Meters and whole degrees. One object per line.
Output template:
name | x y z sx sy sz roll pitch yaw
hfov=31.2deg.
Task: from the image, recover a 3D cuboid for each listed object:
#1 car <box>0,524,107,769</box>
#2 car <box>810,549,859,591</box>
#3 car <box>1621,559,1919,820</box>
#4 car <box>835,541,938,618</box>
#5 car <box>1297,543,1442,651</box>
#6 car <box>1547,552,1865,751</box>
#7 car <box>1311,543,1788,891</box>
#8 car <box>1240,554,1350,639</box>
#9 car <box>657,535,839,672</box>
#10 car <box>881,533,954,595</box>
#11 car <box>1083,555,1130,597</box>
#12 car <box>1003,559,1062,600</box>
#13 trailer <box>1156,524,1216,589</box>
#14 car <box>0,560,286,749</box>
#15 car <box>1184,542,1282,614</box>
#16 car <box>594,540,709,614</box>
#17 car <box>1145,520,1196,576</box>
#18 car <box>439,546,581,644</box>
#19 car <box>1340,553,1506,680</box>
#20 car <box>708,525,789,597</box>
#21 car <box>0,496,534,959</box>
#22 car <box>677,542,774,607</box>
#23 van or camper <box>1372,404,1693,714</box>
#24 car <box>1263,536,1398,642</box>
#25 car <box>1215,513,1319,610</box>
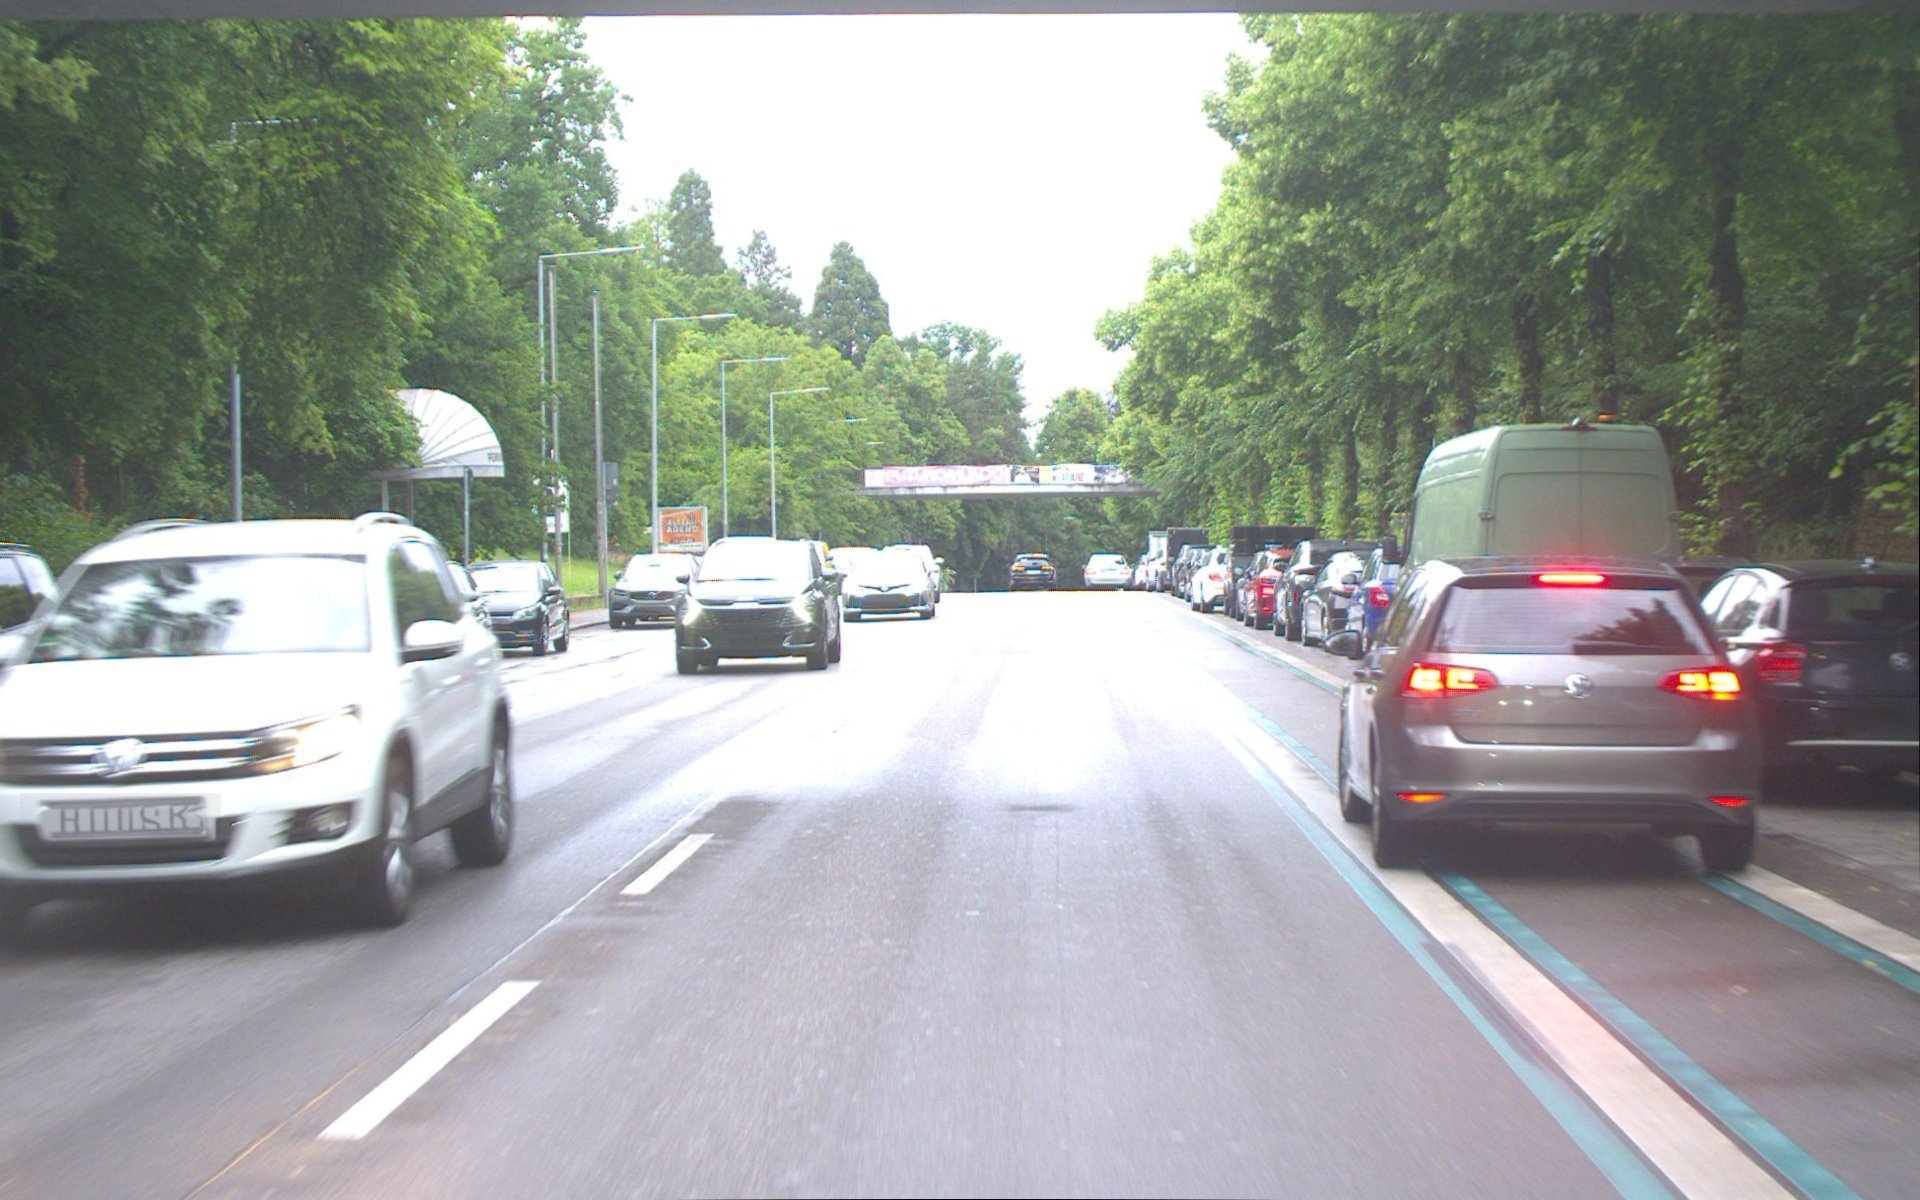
car | -7.862 0.336 25.136 1.990 1.736 4.838 -1 2 1
car | -4.952 -1.193 135.751 1.870 1.537 4.055 -1 2 -1
car | 5.323 0.477 21.340 1.686 1.411 4.197 -1 1 1
car | -1.513 -0.457 72.099 1.921 1.555 4.621 0 1 2
car | 5.888 -0.071 49.809 1.686 1.451 4.146 1 1 2
car | 5.734 0.344 26.856 1.686 1.411 4.100 1 1 2
car | 2.782 0.476 17.087 1.818 1.503 4.139 0 1 2
car | 6.079 -0.088 62.753 1.686 1.448 4.165 1 1 2
car | -2.637 0.004 43.761 1.966 1.622 4.321 -1 1 1
car | -1.164 -1.038 96.346 1.795 1.646 4.129 -2 1 2
car | 5.697 -0.955 133.876 1.731 1.578 4.036 -1 1 1
car | 2.784 -0.805 132.736 2.140 1.487 4.499 0 1 0
trailer | 7.665 -1.484 116.720 1.884 2.158 3.808 -1 1 2
car | -7.541 0.422 30.818 1.983 1.467 4.898 0 2 1
car | 6.203 -0.519 78.490 1.789 1.537 4.890 1 1 0
car | -6.394 -0.496 71.655 2.077 1.477 4.674 0 1 -1
car | 8.147 -2.041 133.356 1.889 2.120 4.045 0 1 3
car | -7.014 -0.110 53.911 1.670 1.452 3.993 0 1 1
car | 5.909 0.171 44.212 1.686 1.508 3.835 1 1 2
car | -5.954 -1.130 97.074 1.913 1.925 4.928 -1 2 1
car | -3.087 0.444 14.840 1.834 1.660 4.180 -3 1 1
car | -6.171 -0.697 91.036 1.990 1.600 4.984 -1 2 3
van or camper | 5.511 -0.429 34.058 2.042 2.720 6.901 1 1 1
car | 5.877 -0.214 54.983 1.756 1.584 4.498 1 1 2
car | 6.542 -0.842 73.586 1.926 2.015 4.663 0 1 2
